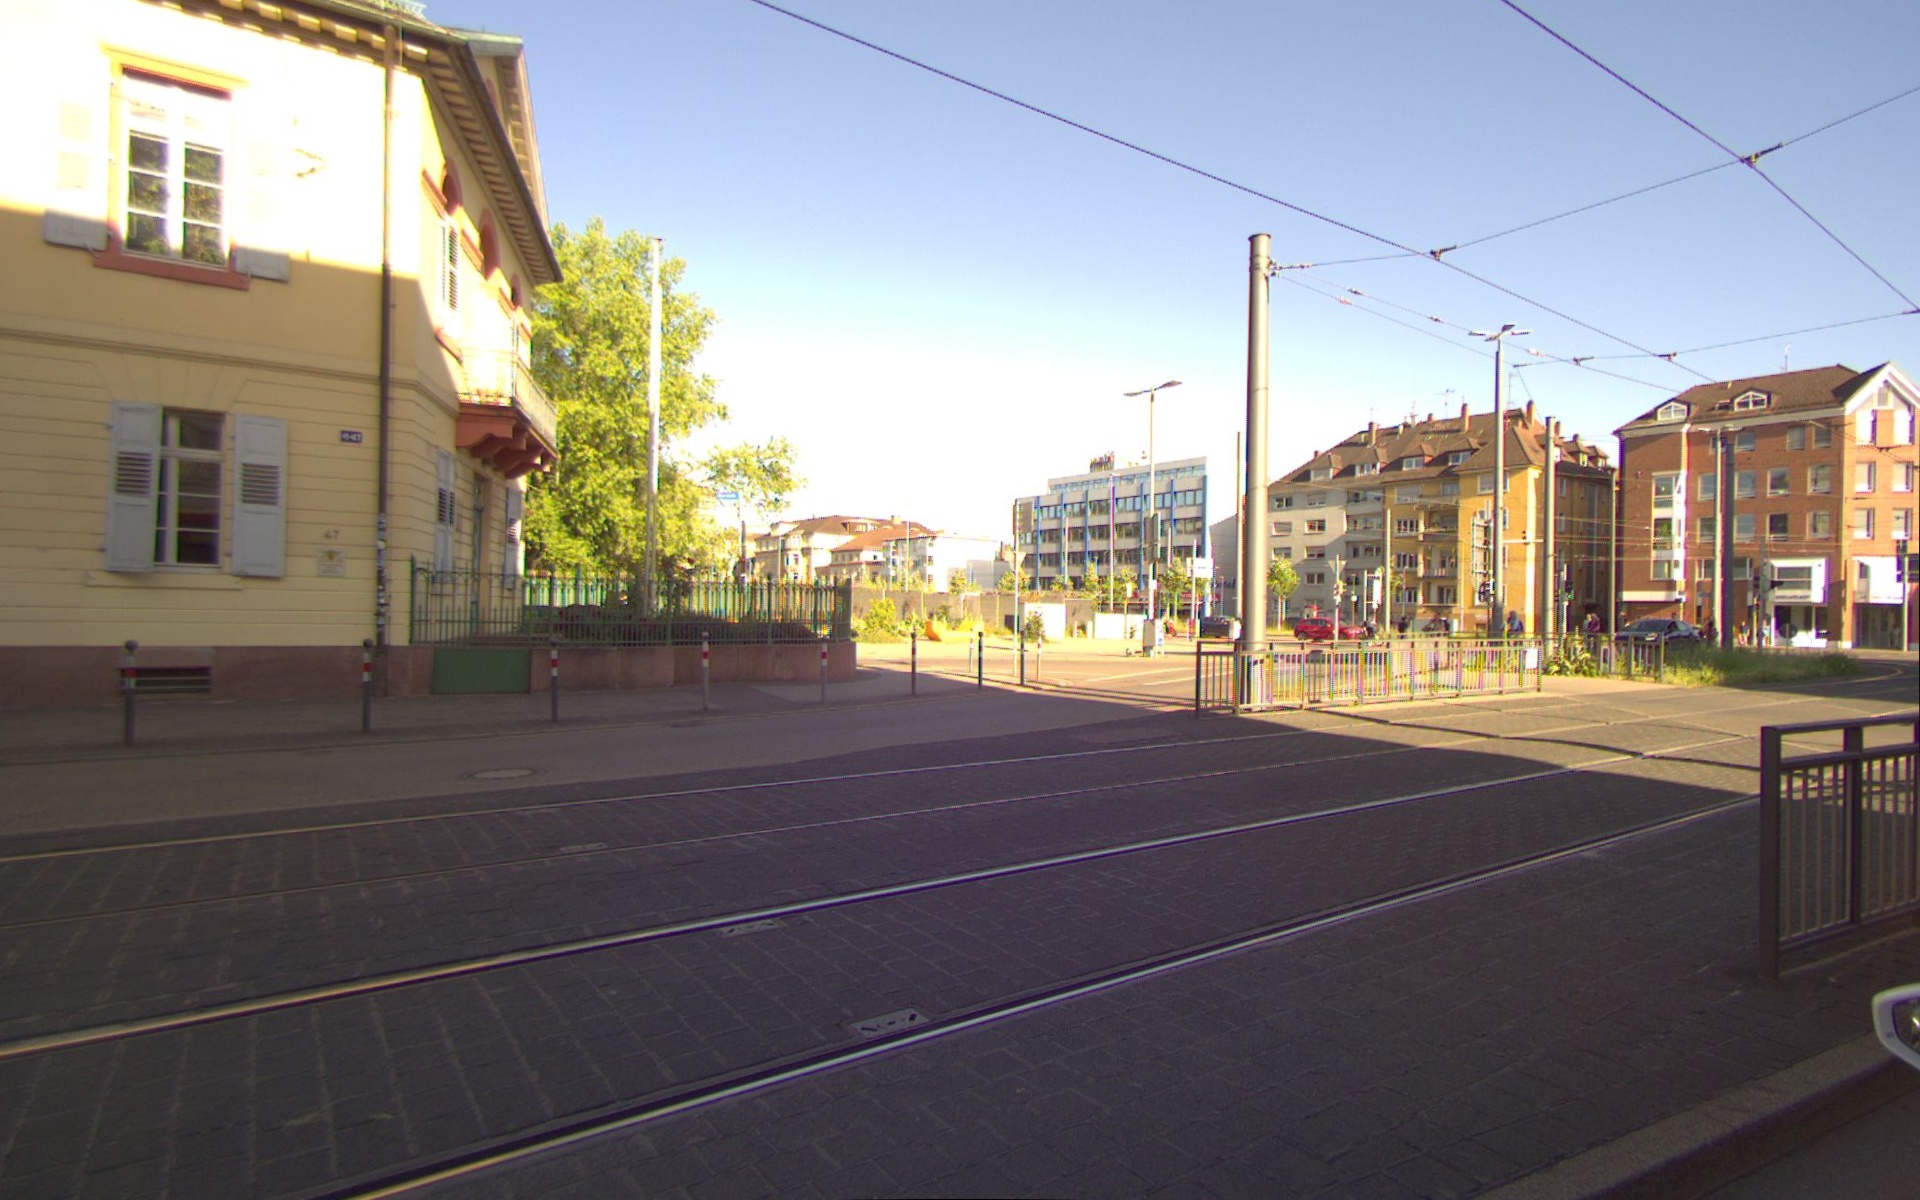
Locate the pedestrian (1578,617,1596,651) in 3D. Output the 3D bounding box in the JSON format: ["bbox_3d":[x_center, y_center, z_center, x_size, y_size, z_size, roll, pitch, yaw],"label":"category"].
[{"bbox_3d":[32.906,1.778,52.689,0.700,1.711,0.619,-1,2,-42],"label":"pedestrian"}]

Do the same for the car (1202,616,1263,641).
[{"bbox_3d":[17.721,1.818,65.384,1.560,1.491,3.673,2,0,-36],"label":"car"}]

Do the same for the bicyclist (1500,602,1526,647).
[{"bbox_3d":[21.304,0.940,38.686,0.761,1.695,0.518,2,0,-29],"label":"bicyclist"}]

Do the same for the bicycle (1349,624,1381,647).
[{"bbox_3d":[22.063,1.925,54.724,0.608,1.148,1.481,2,0,-43],"label":"bicycle"}]

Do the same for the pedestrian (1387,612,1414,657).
[{"bbox_3d":[19.373,1.524,44.221,0.788,1.959,0.719,2,0,-29],"label":"pedestrian"}]

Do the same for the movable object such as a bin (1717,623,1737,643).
[{"bbox_3d":[58.094,2.512,76.062,1.087,1.456,0.988,2,0,-39],"label":"movable object such as a bin"}]

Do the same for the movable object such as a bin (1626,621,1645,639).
[{"bbox_3d":[54.472,2.425,81.024,1.087,1.456,0.988,2,0,-39],"label":"movable object such as a bin"}]

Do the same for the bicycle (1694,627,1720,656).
[{"bbox_3d":[35.289,1.951,47.439,2.012,1.308,0.568,2,0,-42],"label":"bicycle"}]

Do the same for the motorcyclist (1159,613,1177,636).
[{"bbox_3d":[14.447,1.721,69.728,0.775,1.544,0.914,2,0,-36],"label":"motorcyclist"}]

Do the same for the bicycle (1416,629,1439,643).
[{"bbox_3d":[27.114,2.093,58.212,1.160,0.774,0.318,2,0,45],"label":"bicycle"}]

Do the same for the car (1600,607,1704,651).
[{"bbox_3d":[26.158,1.103,37.956,4.074,1.581,1.676,2,0,-30],"label":"car"}]

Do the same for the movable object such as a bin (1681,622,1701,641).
[{"bbox_3d":[56.707,2.425,77.969,1.087,1.456,0.988,2,0,-39],"label":"movable object such as a bin"}]

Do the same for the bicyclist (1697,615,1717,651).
[{"bbox_3d":[35.206,1.555,47.361,0.800,1.671,0.583,2,0,-43],"label":"bicyclist"}]

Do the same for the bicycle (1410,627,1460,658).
[{"bbox_3d":[16.300,1.470,34.461,1.873,1.027,0.527,2,0,-29],"label":"bicycle"}]

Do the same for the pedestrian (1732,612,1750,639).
[{"bbox_3d":[52.337,1.708,67.330,0.921,1.733,0.690,2,0,-36],"label":"pedestrian"}]

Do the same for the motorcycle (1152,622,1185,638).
[{"bbox_3d":[14.452,2.077,69.718,0.784,0.997,2.342,2,0,-36],"label":"motorcycle"}]

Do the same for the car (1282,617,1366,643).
[{"bbox_3d":[21.724,1.781,60.090,1.768,1.529,4.513,1,-2,-39],"label":"car"}]

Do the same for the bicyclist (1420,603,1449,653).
[{"bbox_3d":[16.253,0.951,34.422,0.761,1.695,0.522,2,0,-28],"label":"bicyclist"}]

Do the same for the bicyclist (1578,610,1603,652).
[{"bbox_3d":[25.529,1.257,40.660,0.761,1.695,0.518,2,0,-29],"label":"bicyclist"}]

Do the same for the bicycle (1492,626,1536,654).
[{"bbox_3d":[21.364,1.544,38.724,1.862,1.027,0.527,2,0,-29],"label":"bicycle"}]

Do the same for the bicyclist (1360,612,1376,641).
[{"bbox_3d":[22.191,1.447,54.608,0.605,1.513,0.608,2,0,-44],"label":"bicyclist"}]

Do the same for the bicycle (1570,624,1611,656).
[{"bbox_3d":[25.543,1.626,40.683,1.862,1.230,0.527,2,0,-29],"label":"bicycle"}]
